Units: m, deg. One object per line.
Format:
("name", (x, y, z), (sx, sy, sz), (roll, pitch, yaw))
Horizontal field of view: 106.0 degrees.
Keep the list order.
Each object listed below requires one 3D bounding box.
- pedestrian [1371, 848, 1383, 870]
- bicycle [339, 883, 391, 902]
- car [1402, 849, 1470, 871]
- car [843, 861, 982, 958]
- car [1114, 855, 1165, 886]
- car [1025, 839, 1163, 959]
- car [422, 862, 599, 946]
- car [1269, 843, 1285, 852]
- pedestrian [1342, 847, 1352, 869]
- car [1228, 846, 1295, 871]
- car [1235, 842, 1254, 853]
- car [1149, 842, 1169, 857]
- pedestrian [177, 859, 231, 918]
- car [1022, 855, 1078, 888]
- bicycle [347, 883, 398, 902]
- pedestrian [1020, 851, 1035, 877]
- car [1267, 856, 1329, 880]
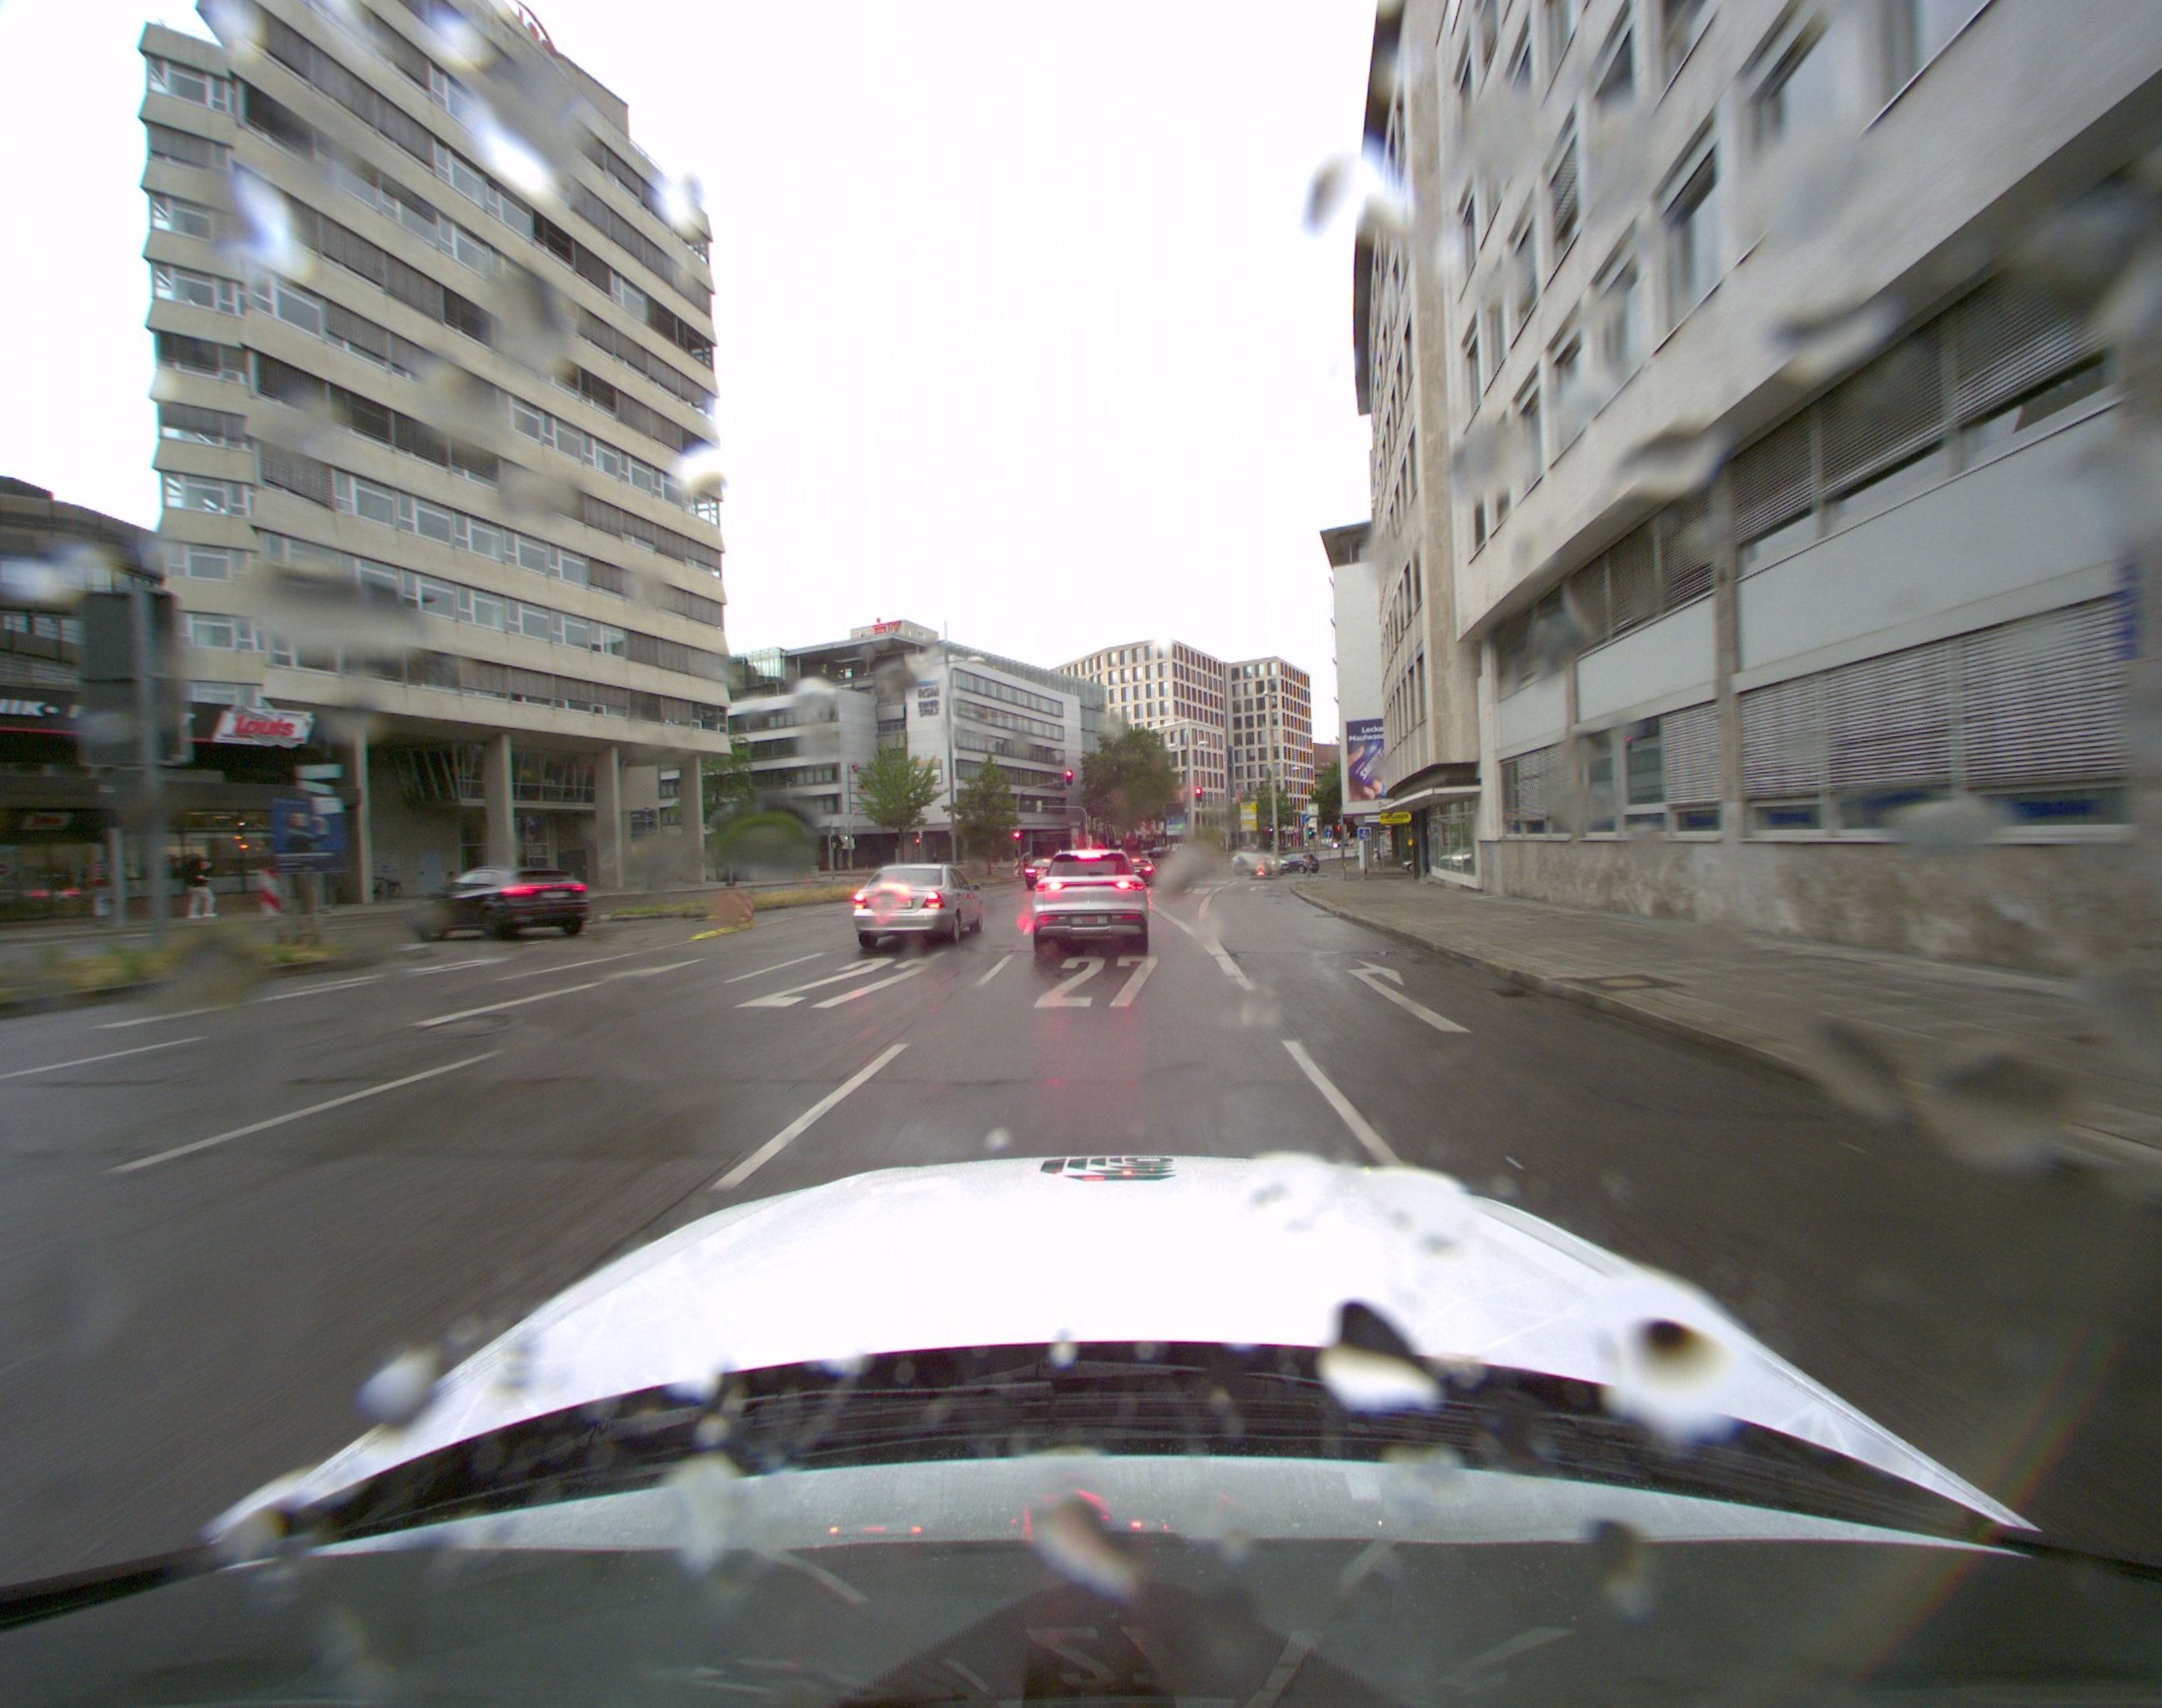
("pedestrian", (22.985, 0.359, 63.205), (0.759, 1.678, 0.734), (-1, 0, 26))
("bicycle", (-33.126, 1.784, 37.692), (0.450, 0.812, 1.783), (-1, -1, 21))
("car", (24.927, 0.379, 57.332), (4.305, 1.510, 1.926), (0, 0, 21))
("car", (-2.967, 0.916, 15.204), (1.676, 1.486, 4.196), (-1, 0, 0))
("car", (3.173, 0.863, 43.510), (1.941, 1.530, 4.016), (-1, 0, 15))
("car", (0.202, 0.665, 14.182), (1.987, 1.709, 4.482), (-1, 0, 0))
("car", (-12.409, 0.999, 17.622), (4.425, 1.544, 2.013), (-1, 0, 40))
("car", (39.604, -1.266, 164.312), (1.974, 1.705, 4.336), (-1, 2, 31))
("pedestrian", (20.939, 0.323, 64.128), (0.721, 1.668, 0.694), (-1, -1, 19))
("car", (13.347, 0.362, 60.384), (2.010, 1.750, 4.478), (-1, 0, -40))
("car", (29.396, -1.197, 146.043), (1.974, 1.705, 4.336), (-1, 2, 31))
("car", (11.309, -0.611, 117.827), (1.722, 2.161, 4.517), (0, 0, 22))
("pedestrian", (-27.836, 1.089, 25.862), (0.721, 1.832, 0.929), (-1, -1, 19))
("car", (-1.477, 0.850, 40.659), (1.943, 1.530, 4.011), (-1, 0, 10))
("bicycle", (-32.581, 1.777, 37.479), (0.450, 0.812, 1.783), (-1, -1, 21))
("pedestrian", (-3.630, 0.670, 55.360), (0.919, 1.738, 0.729), (-1, 0, -2))
("car", (17.019, 1.094, 64.092), (2.065, 1.765, 4.304), (0, 0, -42))
